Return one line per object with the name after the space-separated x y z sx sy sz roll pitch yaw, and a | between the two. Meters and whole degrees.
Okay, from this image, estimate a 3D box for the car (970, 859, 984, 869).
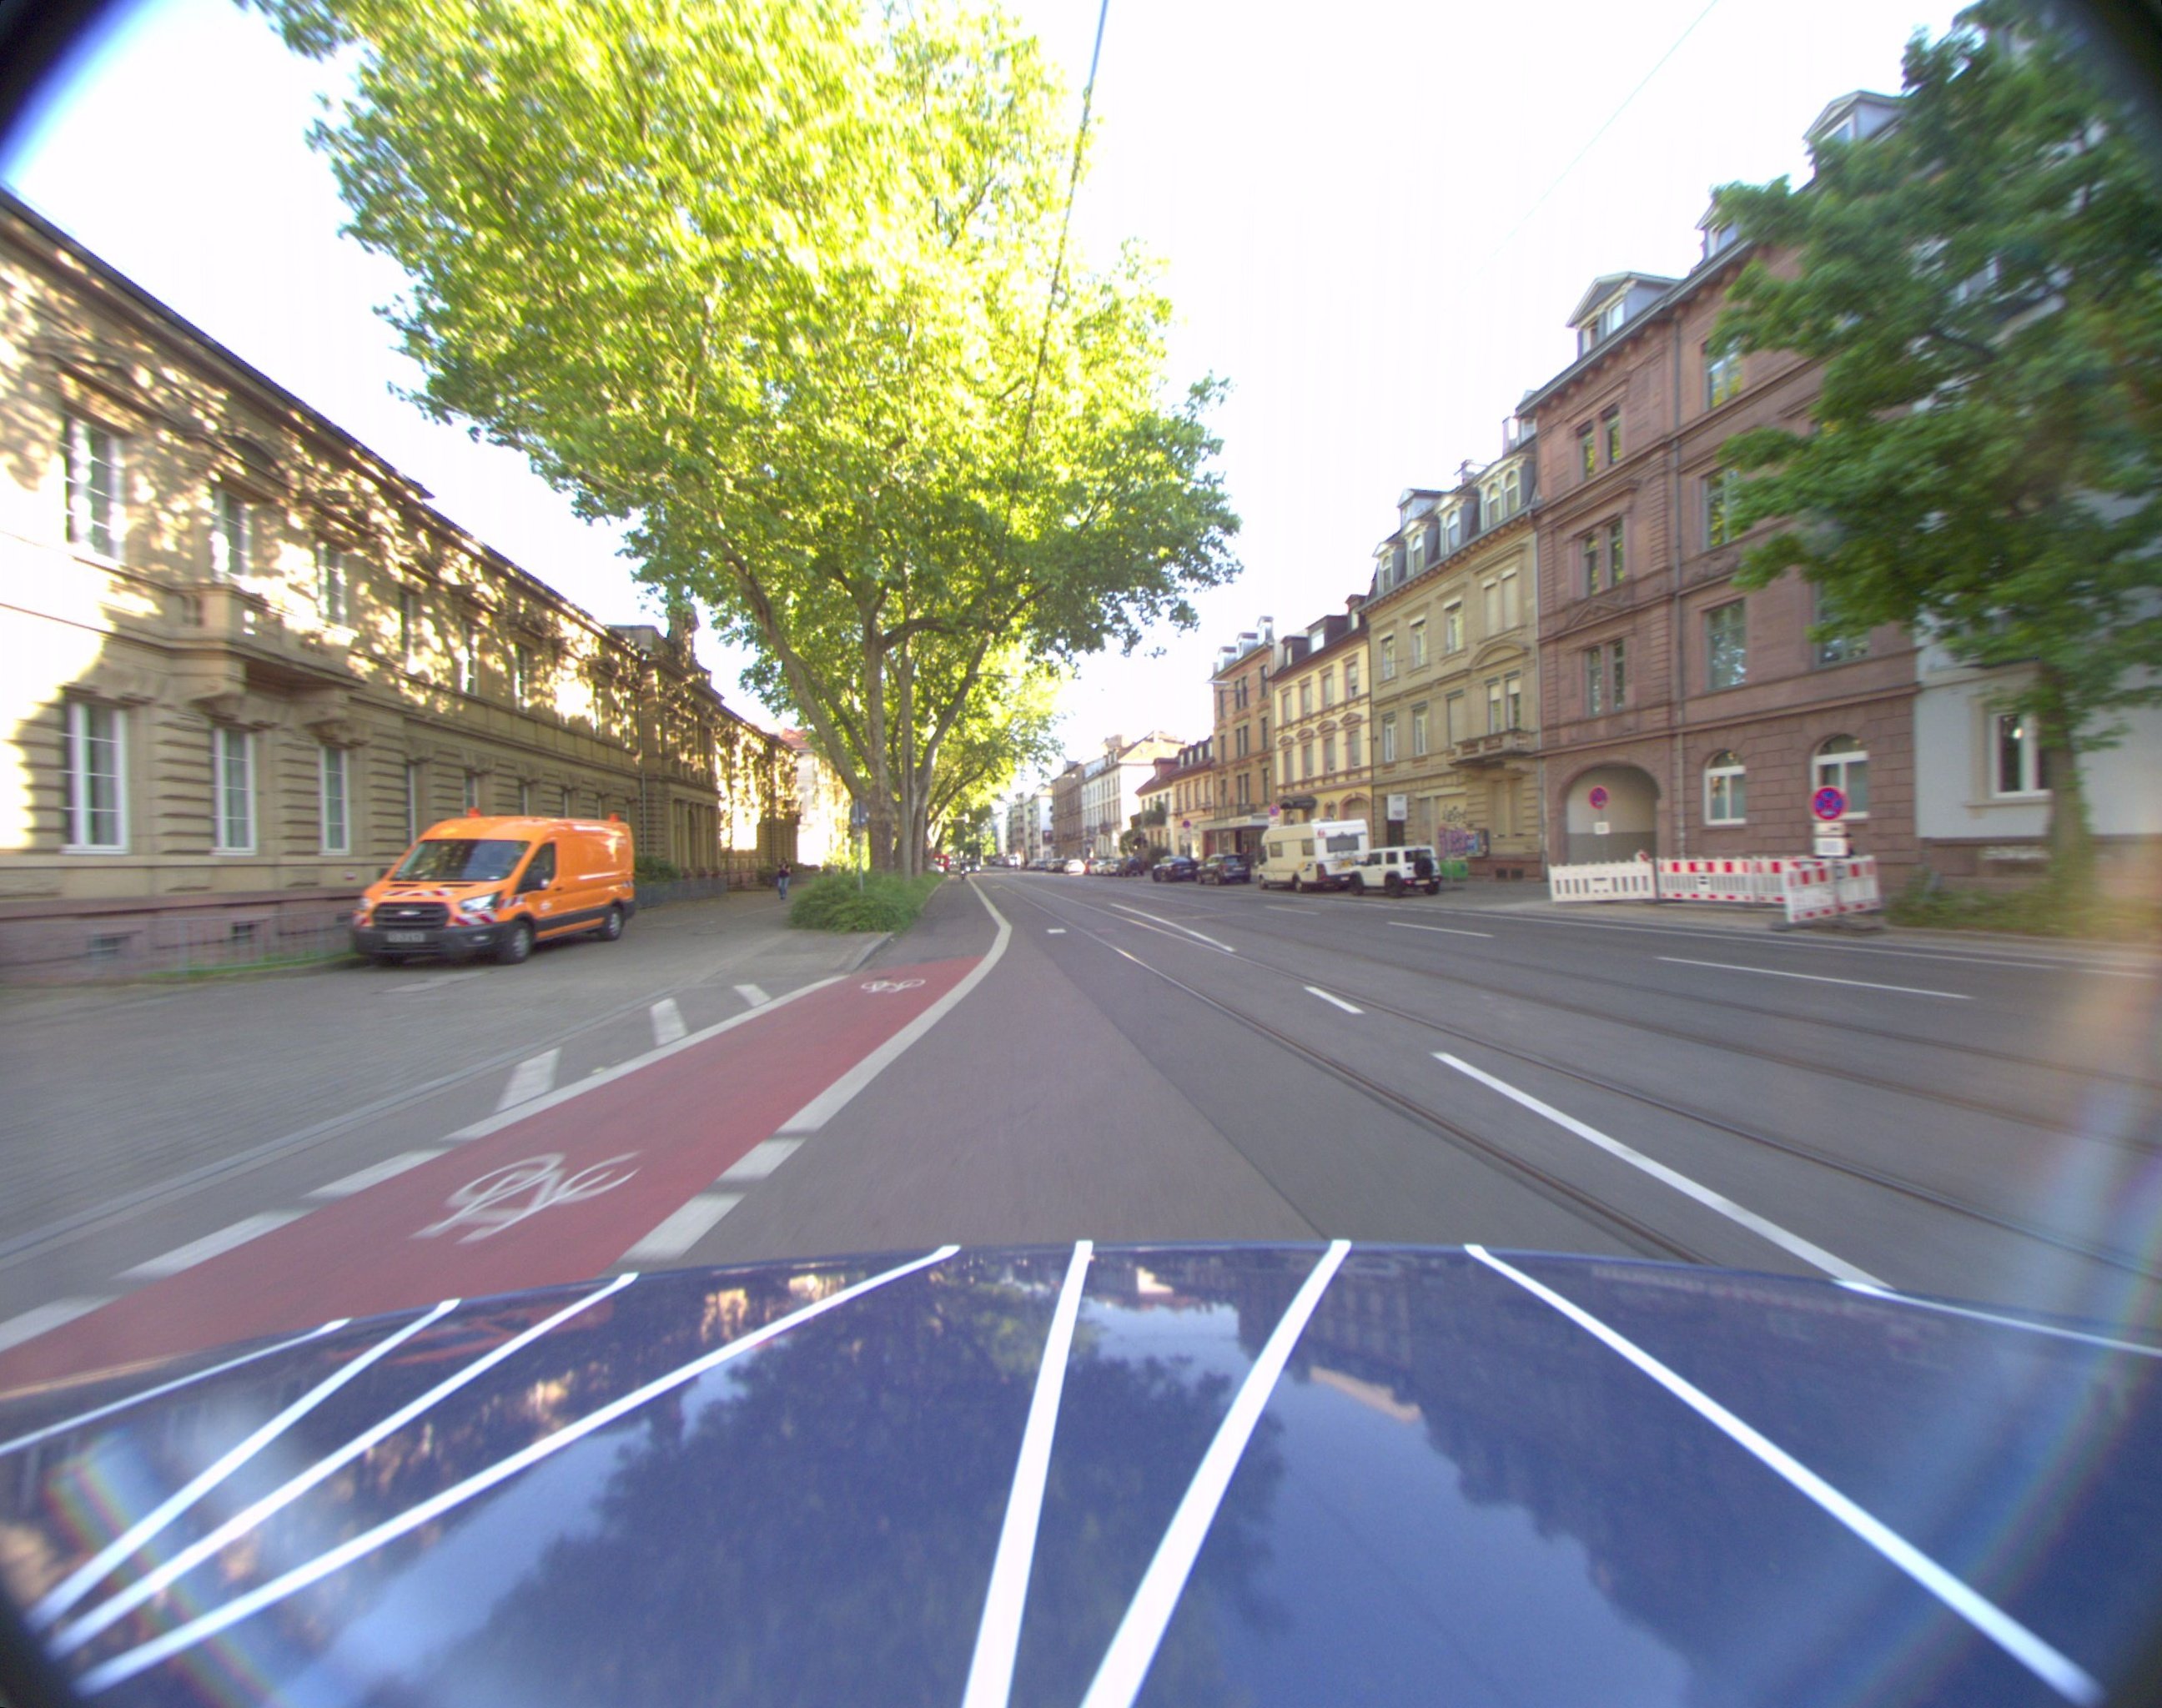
-15.366 1.413 112.493 1.741 1.365 3.915 -3 0 -11 | car

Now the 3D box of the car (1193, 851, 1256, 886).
7.829 0.750 41.873 1.816 1.695 4.439 -5 1 -11 | car

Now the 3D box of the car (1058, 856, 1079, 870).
-1.585 1.079 91.478 1.799 1.587 4.080 -3 0 -10 | car

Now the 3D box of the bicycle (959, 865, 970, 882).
-8.131 1.343 53.087 0.715 1.131 2.118 -1 0 -9 | bicycle

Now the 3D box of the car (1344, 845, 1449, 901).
10.888 0.624 26.460 1.636 1.696 3.367 -4 1 -13 | car

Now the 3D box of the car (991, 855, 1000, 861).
-22.841 1.129 202.973 1.810 1.534 3.915 -3 0 -12 | car

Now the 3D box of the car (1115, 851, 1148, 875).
4.068 0.736 61.473 1.730 1.736 3.622 -5 1 -9 | car

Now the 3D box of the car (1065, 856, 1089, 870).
-0.468 1.003 85.865 1.870 1.423 4.080 -3 0 -10 | car

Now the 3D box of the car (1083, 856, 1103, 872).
1.194 0.959 76.302 1.423 1.502 3.323 -3 0 -7 | car

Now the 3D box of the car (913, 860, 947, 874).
-16.863 1.420 85.070 3.680 1.410 1.613 -1 3 -10 | car

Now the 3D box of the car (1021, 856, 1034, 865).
-9.305 1.109 132.610 1.810 1.534 3.915 -3 0 -11 | car

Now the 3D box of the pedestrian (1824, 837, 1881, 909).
16.330 0.394 16.091 0.578 1.453 0.607 -3 1 -11 | pedestrian

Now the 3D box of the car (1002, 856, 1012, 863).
-17.330 1.175 177.112 1.810 1.534 3.915 -3 0 -11 | car

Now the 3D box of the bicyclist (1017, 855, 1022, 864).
-9.732 0.888 119.822 0.715 1.508 0.953 -1 0 -7 | bicyclist

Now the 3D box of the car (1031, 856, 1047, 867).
-6.466 1.129 116.786 1.799 1.617 4.080 -3 0 -10 | car

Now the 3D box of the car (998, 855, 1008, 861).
-19.213 0.986 187.452 1.810 1.534 3.915 -3 0 -12 | car

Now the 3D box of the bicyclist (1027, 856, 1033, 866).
-7.107 0.973 105.875 0.715 1.508 0.953 -1 0 -9 | bicyclist

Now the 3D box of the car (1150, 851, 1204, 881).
6.164 0.778 49.292 2.000 1.693 4.746 -5 1 -11 | car

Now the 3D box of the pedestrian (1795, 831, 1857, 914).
15.416 0.377 15.732 0.570 1.644 0.687 -4 1 -17 | pedestrian

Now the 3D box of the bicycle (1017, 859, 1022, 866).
-9.716 1.371 119.749 0.715 1.131 2.119 -1 0 -6 | bicycle

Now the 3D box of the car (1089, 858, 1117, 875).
2.008 1.149 71.081 1.588 1.482 4.466 -3 0 -11 | car

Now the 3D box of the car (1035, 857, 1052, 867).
-5.512 1.172 111.575 1.799 1.368 4.080 -3 0 -10 | car

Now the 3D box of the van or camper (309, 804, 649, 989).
-10.072 0.592 13.557 2.042 2.544 5.769 -1 0 -8 | van or camper

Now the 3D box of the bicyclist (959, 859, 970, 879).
-8.148 1.042 53.127 0.715 1.435 0.953 -1 0 -8 | bicyclist

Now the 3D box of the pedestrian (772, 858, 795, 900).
-12.385 1.031 31.656 0.653 1.726 1.006 -1 0 -9 | pedestrian

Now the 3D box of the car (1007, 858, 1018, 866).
-14.216 1.673 157.728 1.810 1.534 3.915 -3 0 -11 | car

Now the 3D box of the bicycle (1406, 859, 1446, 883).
14.064 0.672 31.025 0.580 0.919 1.790 -1 0 -8 | bicycle

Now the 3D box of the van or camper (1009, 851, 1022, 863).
-13.084 0.639 152.037 1.946 2.267 4.594 -3 0 -11 | van or camper

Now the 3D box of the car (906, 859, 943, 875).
-16.460 1.362 79.924 3.680 1.534 1.613 -1 3 -10 | car

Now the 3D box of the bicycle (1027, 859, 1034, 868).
-7.065 1.327 105.786 0.715 1.131 2.118 -1 0 -9 | bicycle

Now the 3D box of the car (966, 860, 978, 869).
-18.211 1.805 127.400 1.741 1.365 3.915 -3 0 -11 | car

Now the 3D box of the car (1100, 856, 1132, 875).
3.007 0.975 65.751 1.669 1.446 4.400 -4 1 -11 | car

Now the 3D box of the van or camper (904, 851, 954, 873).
-18.803 0.938 93.930 5.933 2.484 2.218 -1 3 -12 | van or camper

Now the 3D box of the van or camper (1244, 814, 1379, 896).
9.568 0.038 32.522 2.427 2.930 7.245 -5 1 -9 | van or camper

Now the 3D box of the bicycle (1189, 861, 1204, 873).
9.290 1.044 61.206 0.505 0.963 2.118 -1 0 -9 | bicycle

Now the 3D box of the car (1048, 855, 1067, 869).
-3.027 1.009 96.672 1.799 1.630 4.250 -3 0 -10 | car
